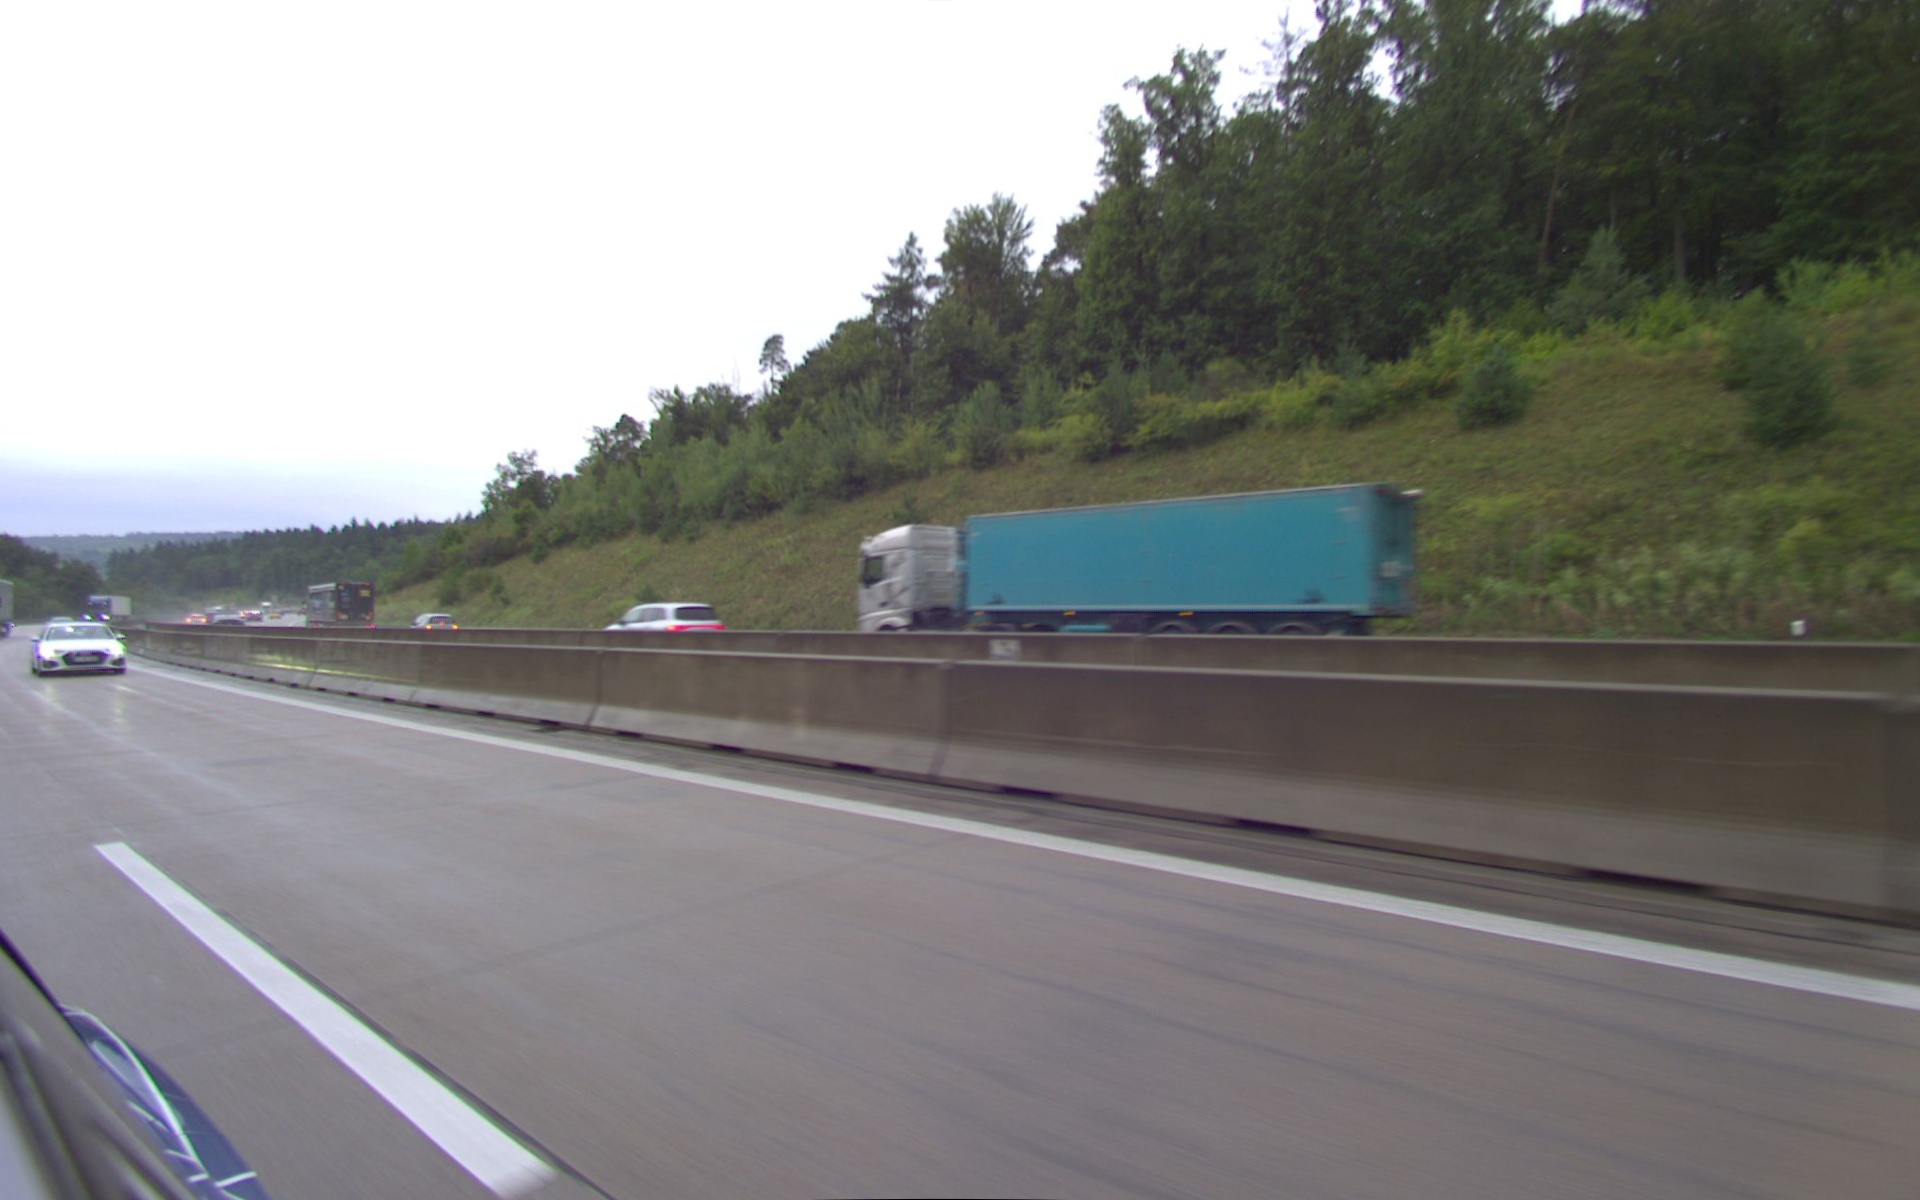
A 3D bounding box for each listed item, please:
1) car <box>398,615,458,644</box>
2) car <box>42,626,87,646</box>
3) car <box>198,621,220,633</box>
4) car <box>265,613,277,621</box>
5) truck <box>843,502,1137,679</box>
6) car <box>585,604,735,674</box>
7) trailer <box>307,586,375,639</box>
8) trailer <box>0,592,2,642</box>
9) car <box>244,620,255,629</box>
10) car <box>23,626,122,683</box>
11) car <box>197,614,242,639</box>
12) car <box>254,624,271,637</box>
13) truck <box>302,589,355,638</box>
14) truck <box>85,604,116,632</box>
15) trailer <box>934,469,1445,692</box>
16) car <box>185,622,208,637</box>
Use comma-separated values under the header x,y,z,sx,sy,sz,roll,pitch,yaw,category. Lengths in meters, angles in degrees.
x,y,z,sx,sy,sz,roll,pitch,yaw,category
-28.342,1.549,53.853,4.002,1.504,1.711,-1,-2,45,car
-72.249,2.883,81.702,1.820,1.494,4.462,-1,-1,-30,car
-104.702,3.793,141.001,1.970,1.597,4.777,0,-1,-43,car
-131.285,3.289,192.794,1.718,1.573,4.294,0,-1,-36,car
0.572,-0.147,25.973,7.361,3.918,2.877,-1,-1,41,truck
-8.374,1.050,28.006,4.756,1.790,1.713,-1,-1,41,car
-50.428,1.048,82.253,2.890,3.990,13.487,0,-1,-39,trailer
-70.043,1.031,71.870,2.648,4.071,13.718,-3,1,-43,trailer
-132.478,4.553,188.660,1.719,1.573,4.293,0,-1,-36,car
-24.534,1.447,27.918,4.937,1.418,1.693,-2,-1,45,car
-46.951,1.668,64.122,4.002,1.504,1.711,-1,-2,45,car
-110.294,4.837,160.003,1.968,2.029,4.008,0,-1,-37,car
-54.452,1.159,87.201,2.890,3.991,8.132,0,-1,-39,truck
-131.995,2.836,155.480,2.694,4.183,8.643,-1,-1,-35,truck
4.459,-0.252,22.500,11.030,3.918,2.877,-1,-1,41,trailer
-84.907,3.301,112.520,1.968,1.597,4.782,0,-1,-38,car
